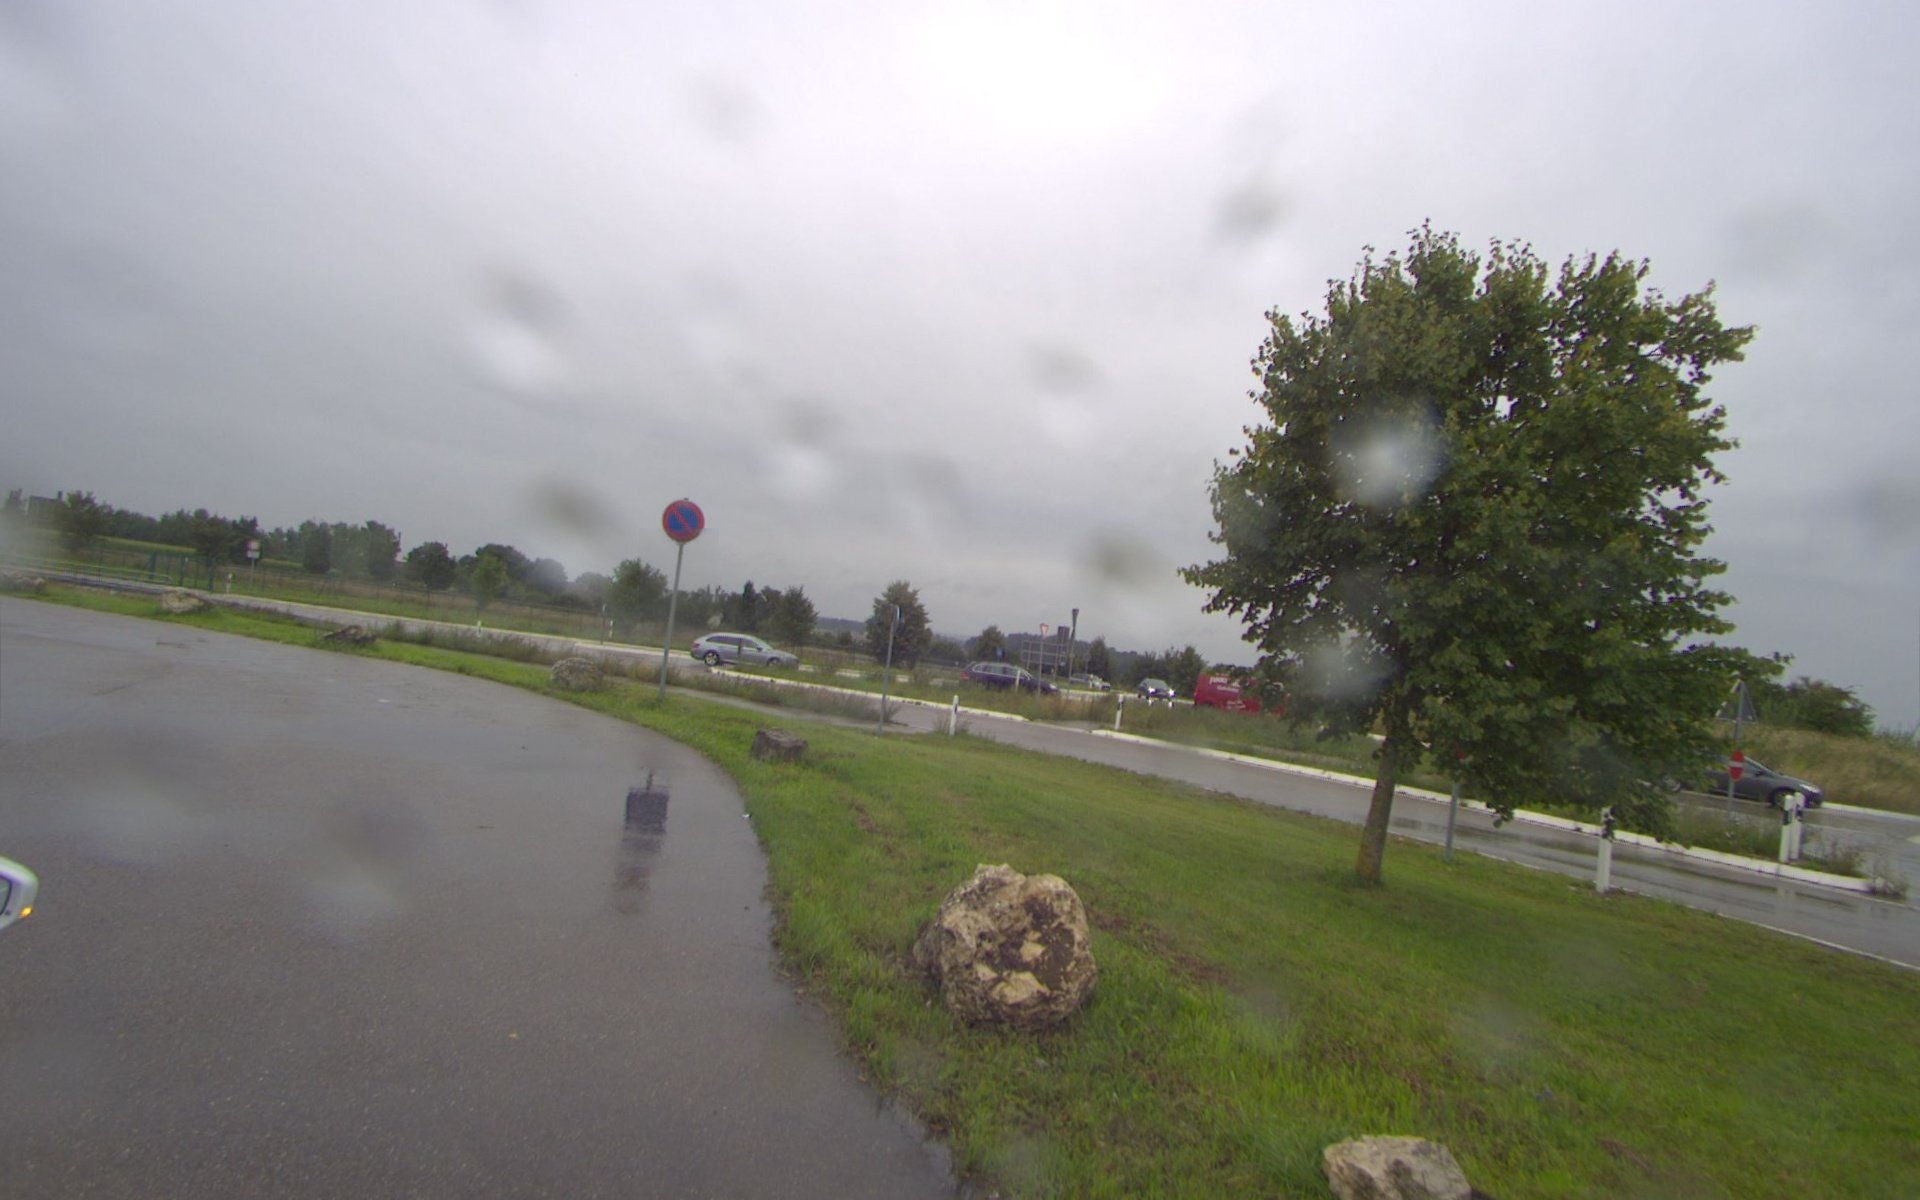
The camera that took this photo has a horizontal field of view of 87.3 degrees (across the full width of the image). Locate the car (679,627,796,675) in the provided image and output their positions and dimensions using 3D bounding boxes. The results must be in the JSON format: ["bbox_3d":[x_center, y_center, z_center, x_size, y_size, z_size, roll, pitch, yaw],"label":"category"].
[{"bbox_3d":[-9.764,2.235,44.455,4.576,1.499,2.000,7,-1,-1],"label":"car"}]

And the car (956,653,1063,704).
[{"bbox_3d":[2.208,3.436,43.941,4.438,1.620,2.004,7,-3,7],"label":"car"}]

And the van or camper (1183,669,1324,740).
[{"bbox_3d":[11.490,4.040,39.515,4.769,2.039,1.995,6,0,33],"label":"van or camper"}]

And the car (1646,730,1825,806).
[{"bbox_3d":[22.683,4.845,29.516,3.950,1.609,1.816,3,-3,44],"label":"car"}]

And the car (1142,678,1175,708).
[{"bbox_3d":[14.103,6.603,71.720,1.856,1.704,4.674,5,-1,8],"label":"car"}]

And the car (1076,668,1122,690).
[{"bbox_3d":[11.860,6.729,85.886,1.734,1.340,4.285,6,-1,-25],"label":"car"}]
